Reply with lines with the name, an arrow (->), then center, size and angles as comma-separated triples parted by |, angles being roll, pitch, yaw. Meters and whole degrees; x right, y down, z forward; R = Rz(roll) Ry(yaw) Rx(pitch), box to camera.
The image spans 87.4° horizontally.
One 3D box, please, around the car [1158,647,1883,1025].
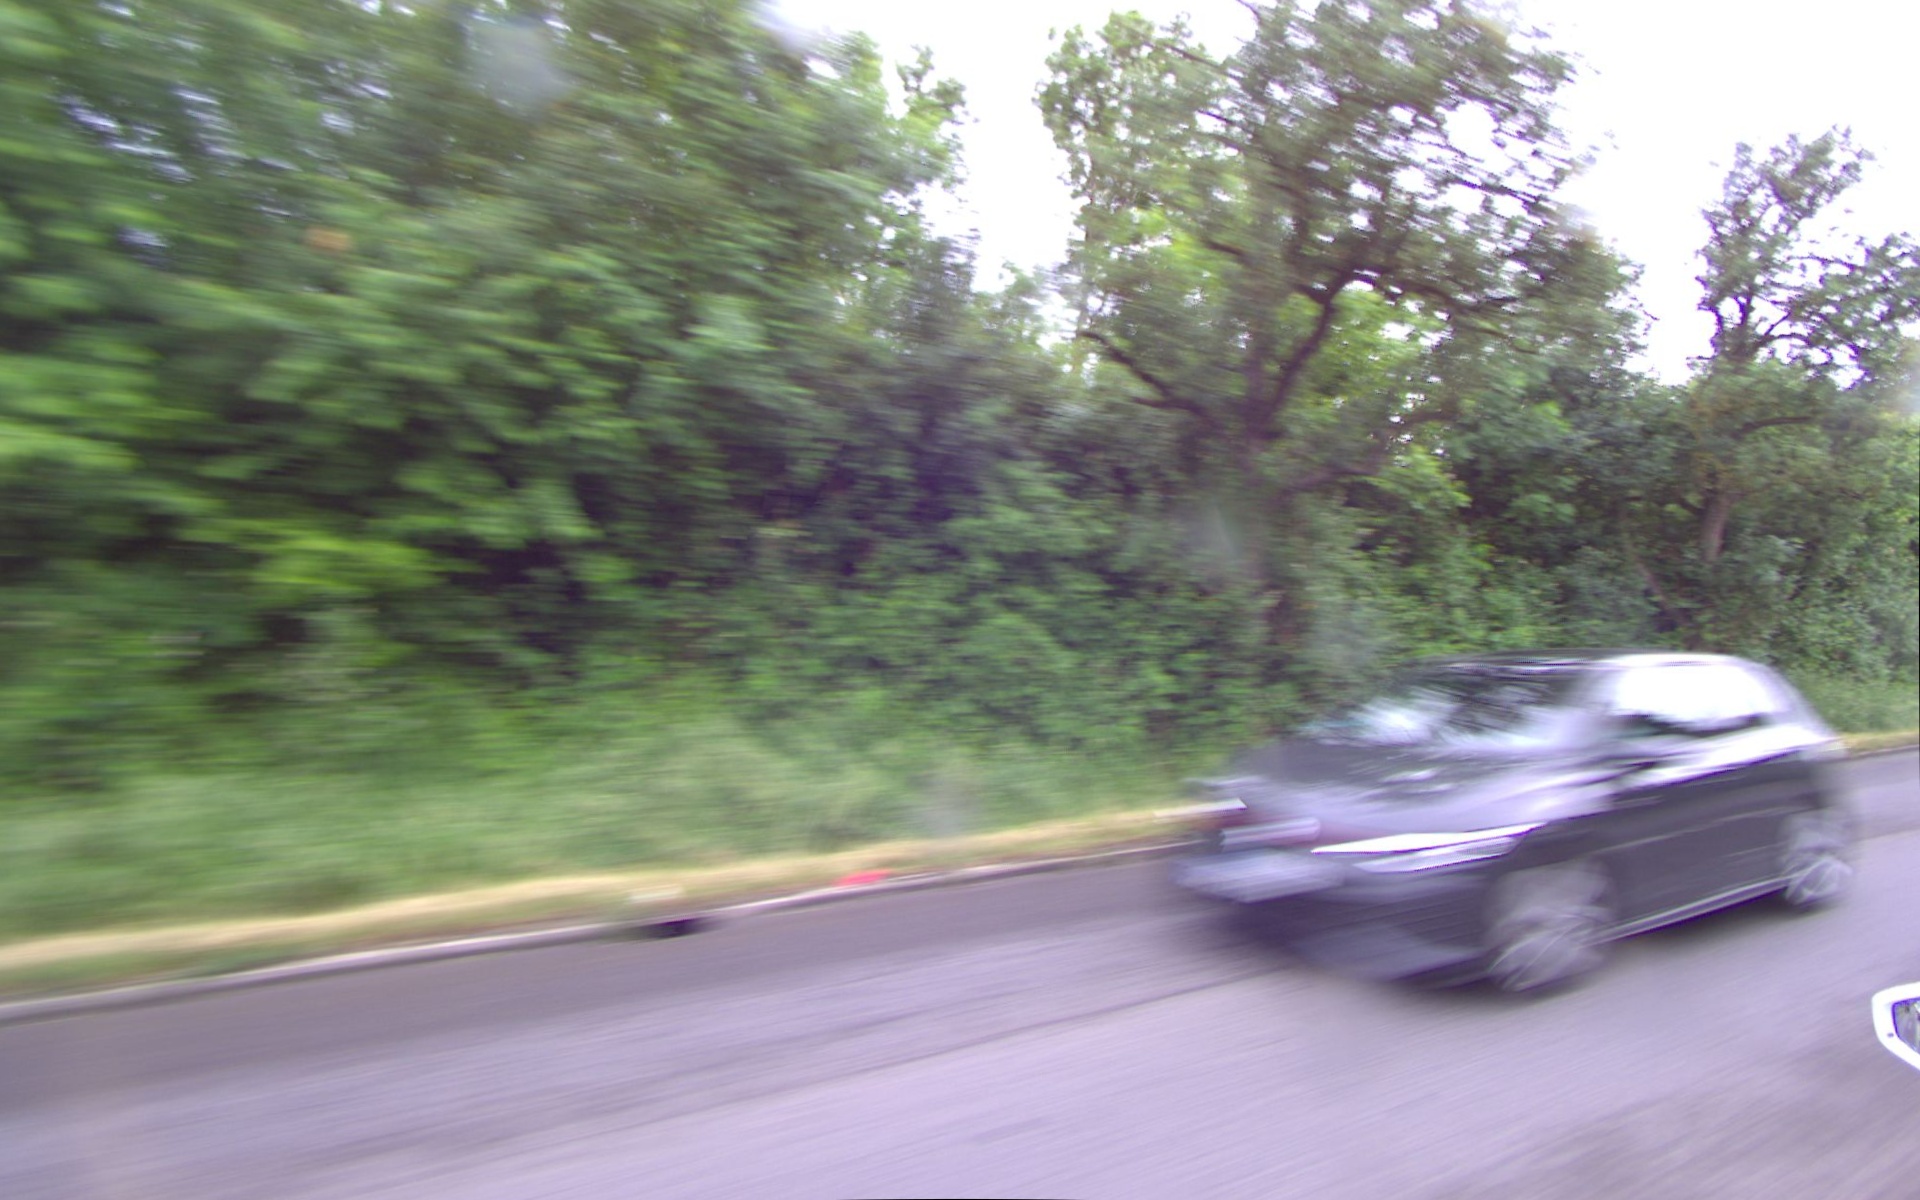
car -> 3.233, 0.981, 5.607 | 4.102, 1.417, 1.702 | 2, -3, -31
